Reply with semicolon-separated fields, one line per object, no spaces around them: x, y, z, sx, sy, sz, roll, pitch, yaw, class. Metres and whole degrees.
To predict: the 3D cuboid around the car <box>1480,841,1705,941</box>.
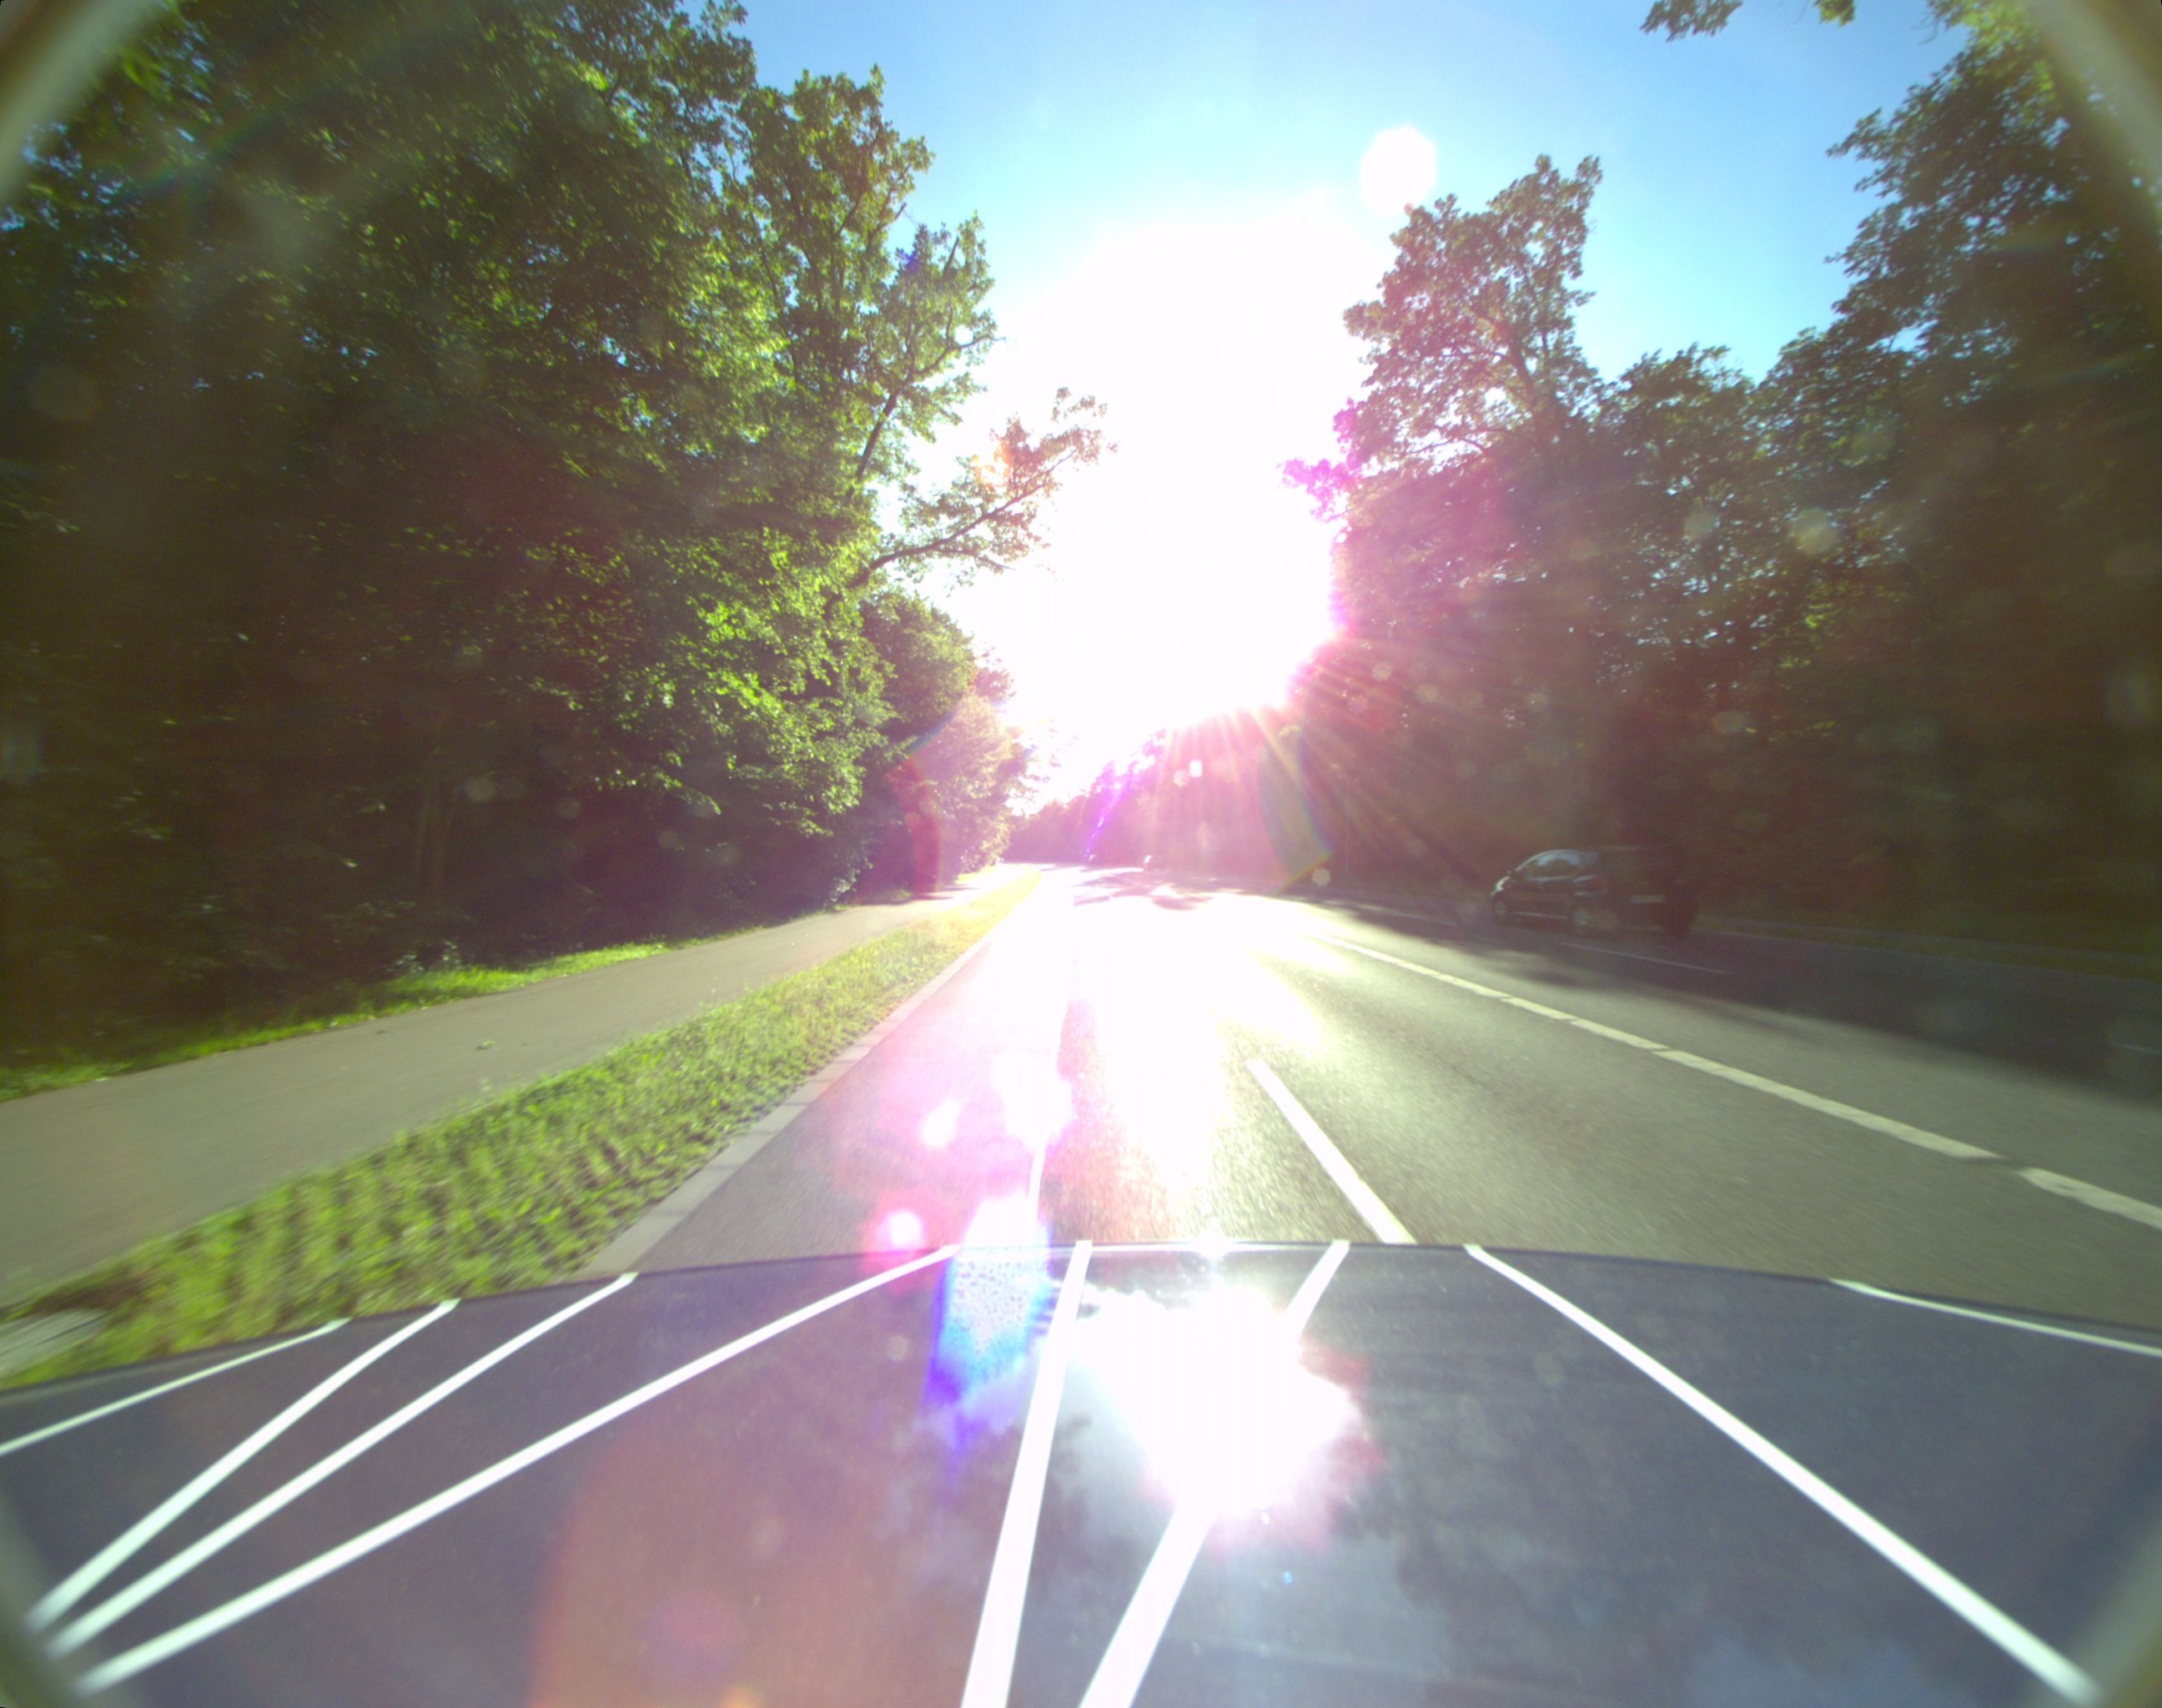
8.568;0.555;13.108;1.499;1.436;3.500;-2;0;0;car

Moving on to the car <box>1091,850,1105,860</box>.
2.770;0.177;125.371;1.813;1.653;4.519;-1;0;-6;car

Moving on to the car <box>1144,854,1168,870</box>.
7.138;0.729;72.722;1.714;1.415;4.129;-1;0;-2;car
